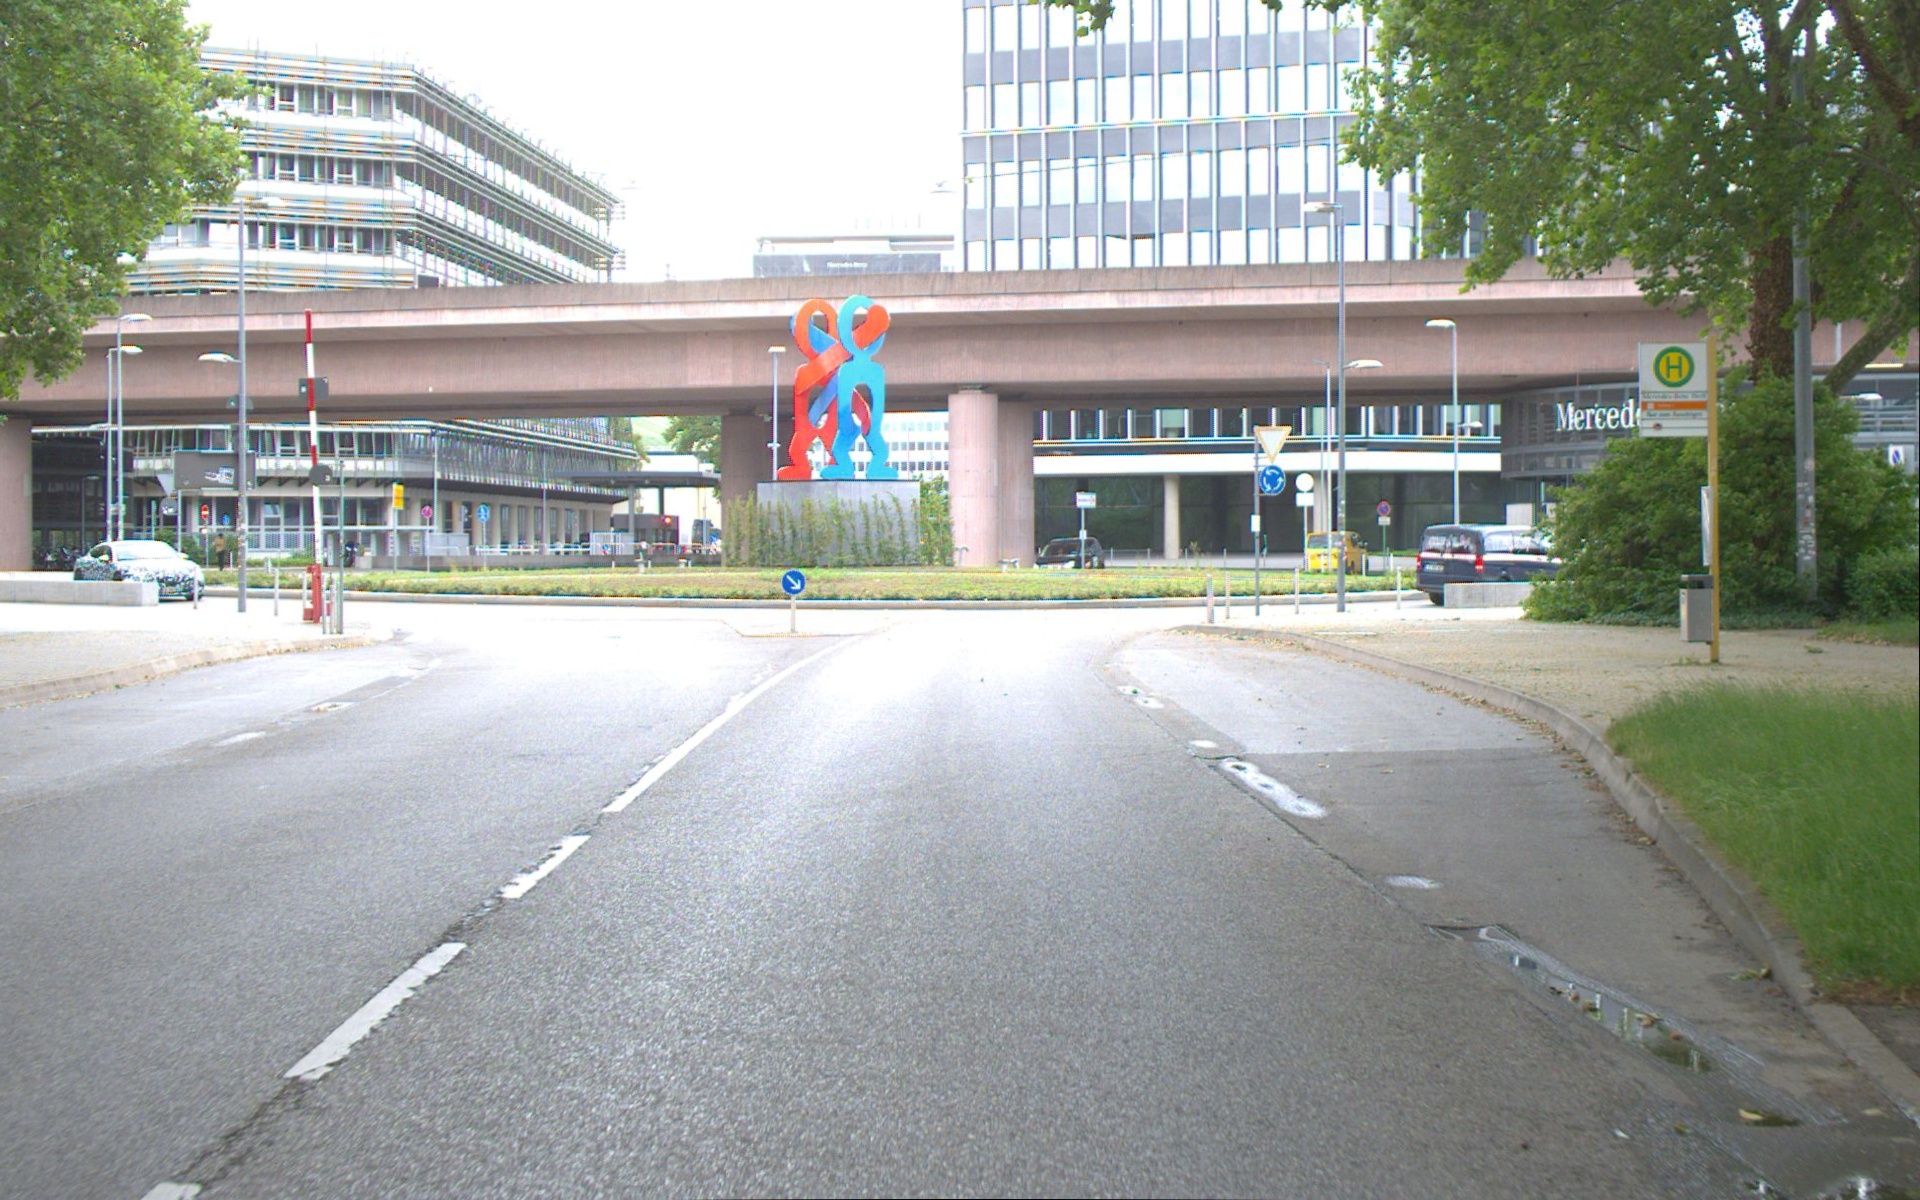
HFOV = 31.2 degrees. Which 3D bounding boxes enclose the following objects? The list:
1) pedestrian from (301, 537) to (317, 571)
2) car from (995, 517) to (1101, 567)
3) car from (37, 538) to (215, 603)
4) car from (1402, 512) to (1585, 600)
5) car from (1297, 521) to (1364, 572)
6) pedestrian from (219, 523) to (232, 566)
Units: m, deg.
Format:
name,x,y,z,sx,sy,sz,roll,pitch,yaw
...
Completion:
name,x,y,z,sx,sy,sz,roll,pitch,yaw
pedestrian,-38.694,-2.758,204.430,0.776,2.007,0.671,-1,1,0
car,3.229,-2.126,125.497,1.997,1.766,3.992,1,1,35
car,-19.749,-0.696,81.315,1.902,1.448,4.812,-3,2,-44
car,12.603,-1.019,80.957,2.281,2.007,4.773,1,1,37
car,15.034,-2.165,139.294,1.995,2.007,3.997,1,1,17
pedestrian,-34.540,-2.625,161.622,0.588,2.007,0.599,1,0,-12
